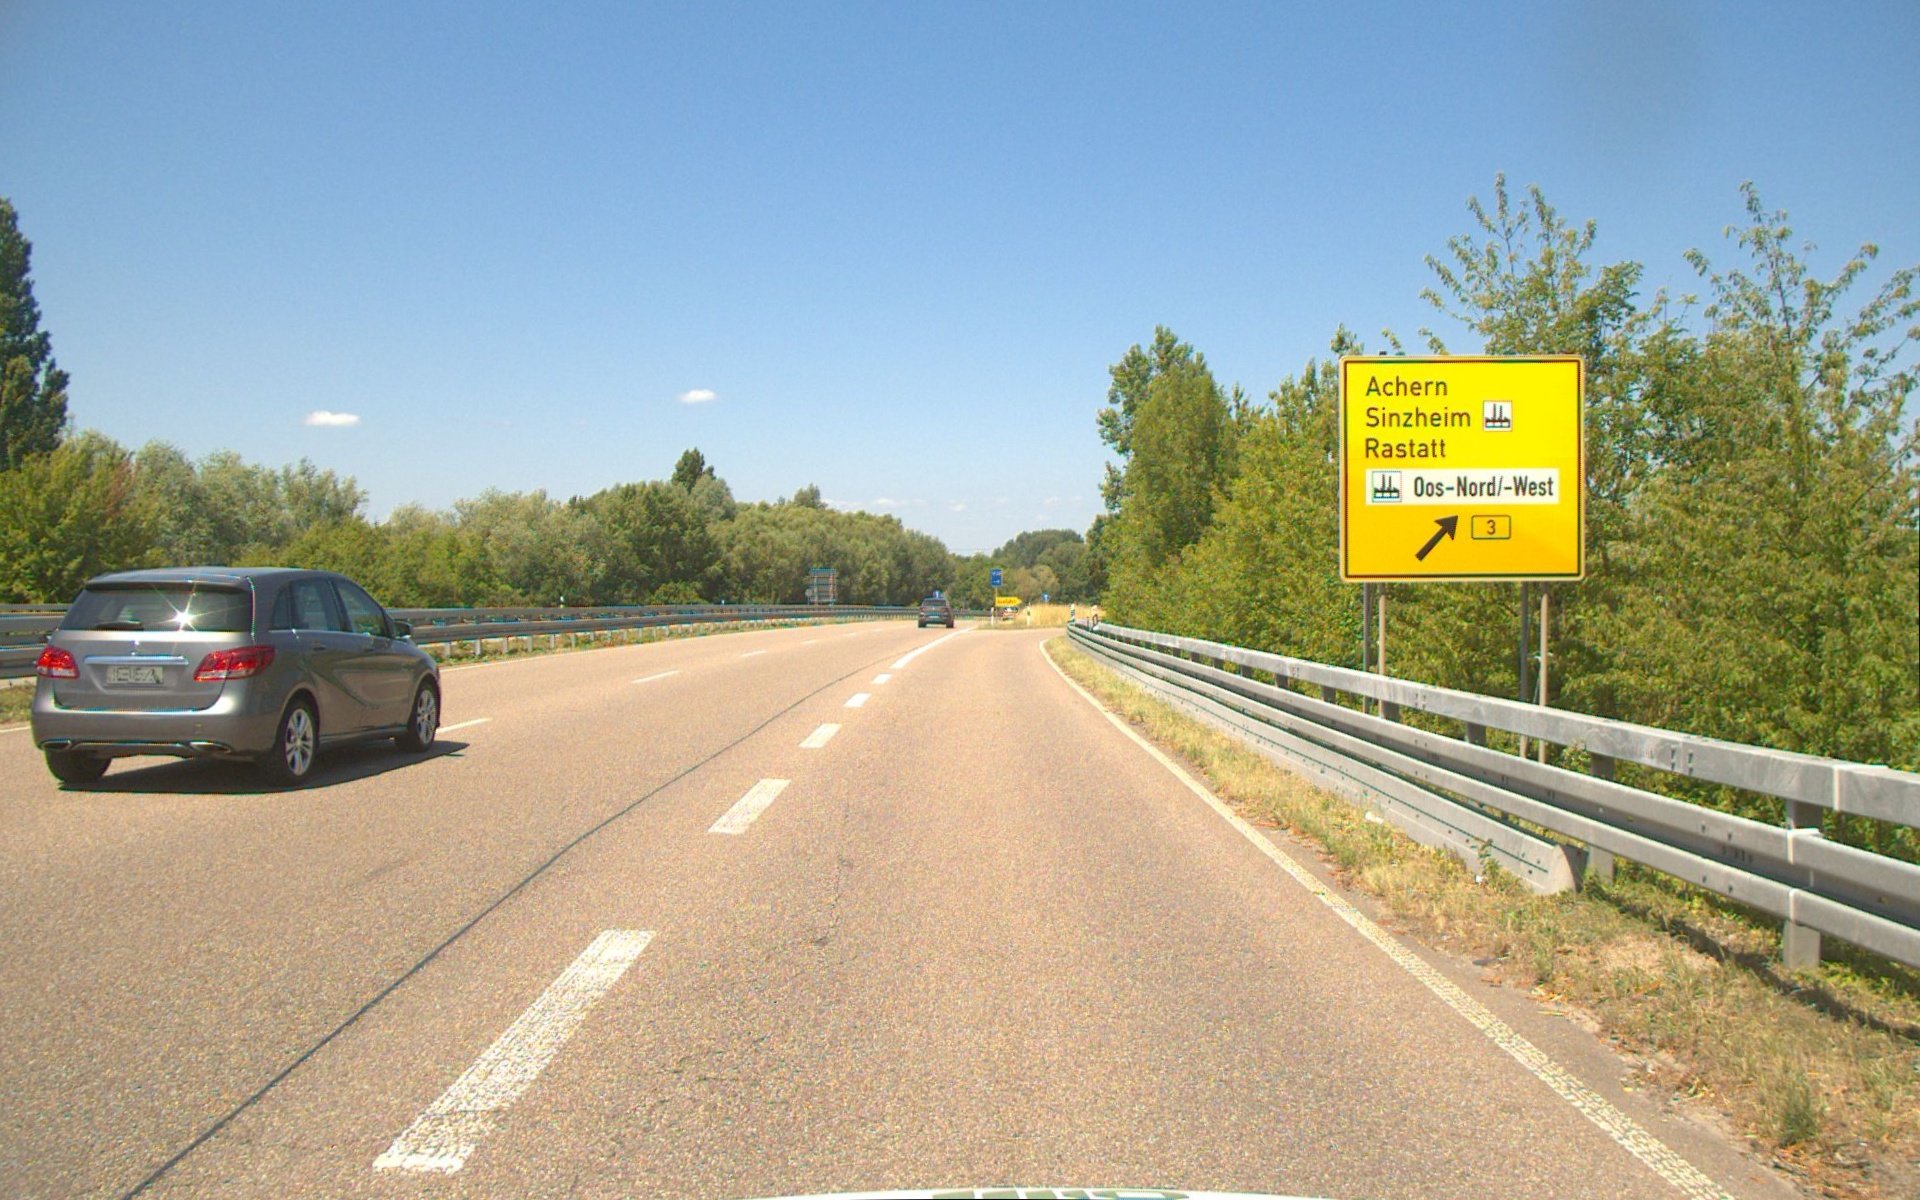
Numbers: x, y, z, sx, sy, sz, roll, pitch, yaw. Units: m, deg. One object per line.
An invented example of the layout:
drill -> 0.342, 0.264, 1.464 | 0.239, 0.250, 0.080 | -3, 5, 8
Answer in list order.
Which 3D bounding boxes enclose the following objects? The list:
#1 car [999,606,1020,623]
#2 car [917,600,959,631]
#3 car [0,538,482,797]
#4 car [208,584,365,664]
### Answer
car -> 4.781, 1.335, 158.767 | 1.802, 1.489, 4.003 | 2, 1, 5
car -> -1.150, 0.813, 89.683 | 1.802, 1.556, 4.473 | 2, 1, 5
car -> -5.508, 0.442, 13.375 | 1.756, 1.697, 4.556 | 1, 0, 3
car -> -14.977, 0.524, 37.029 | 1.787, 1.676, 4.189 | 0, 0, 0
